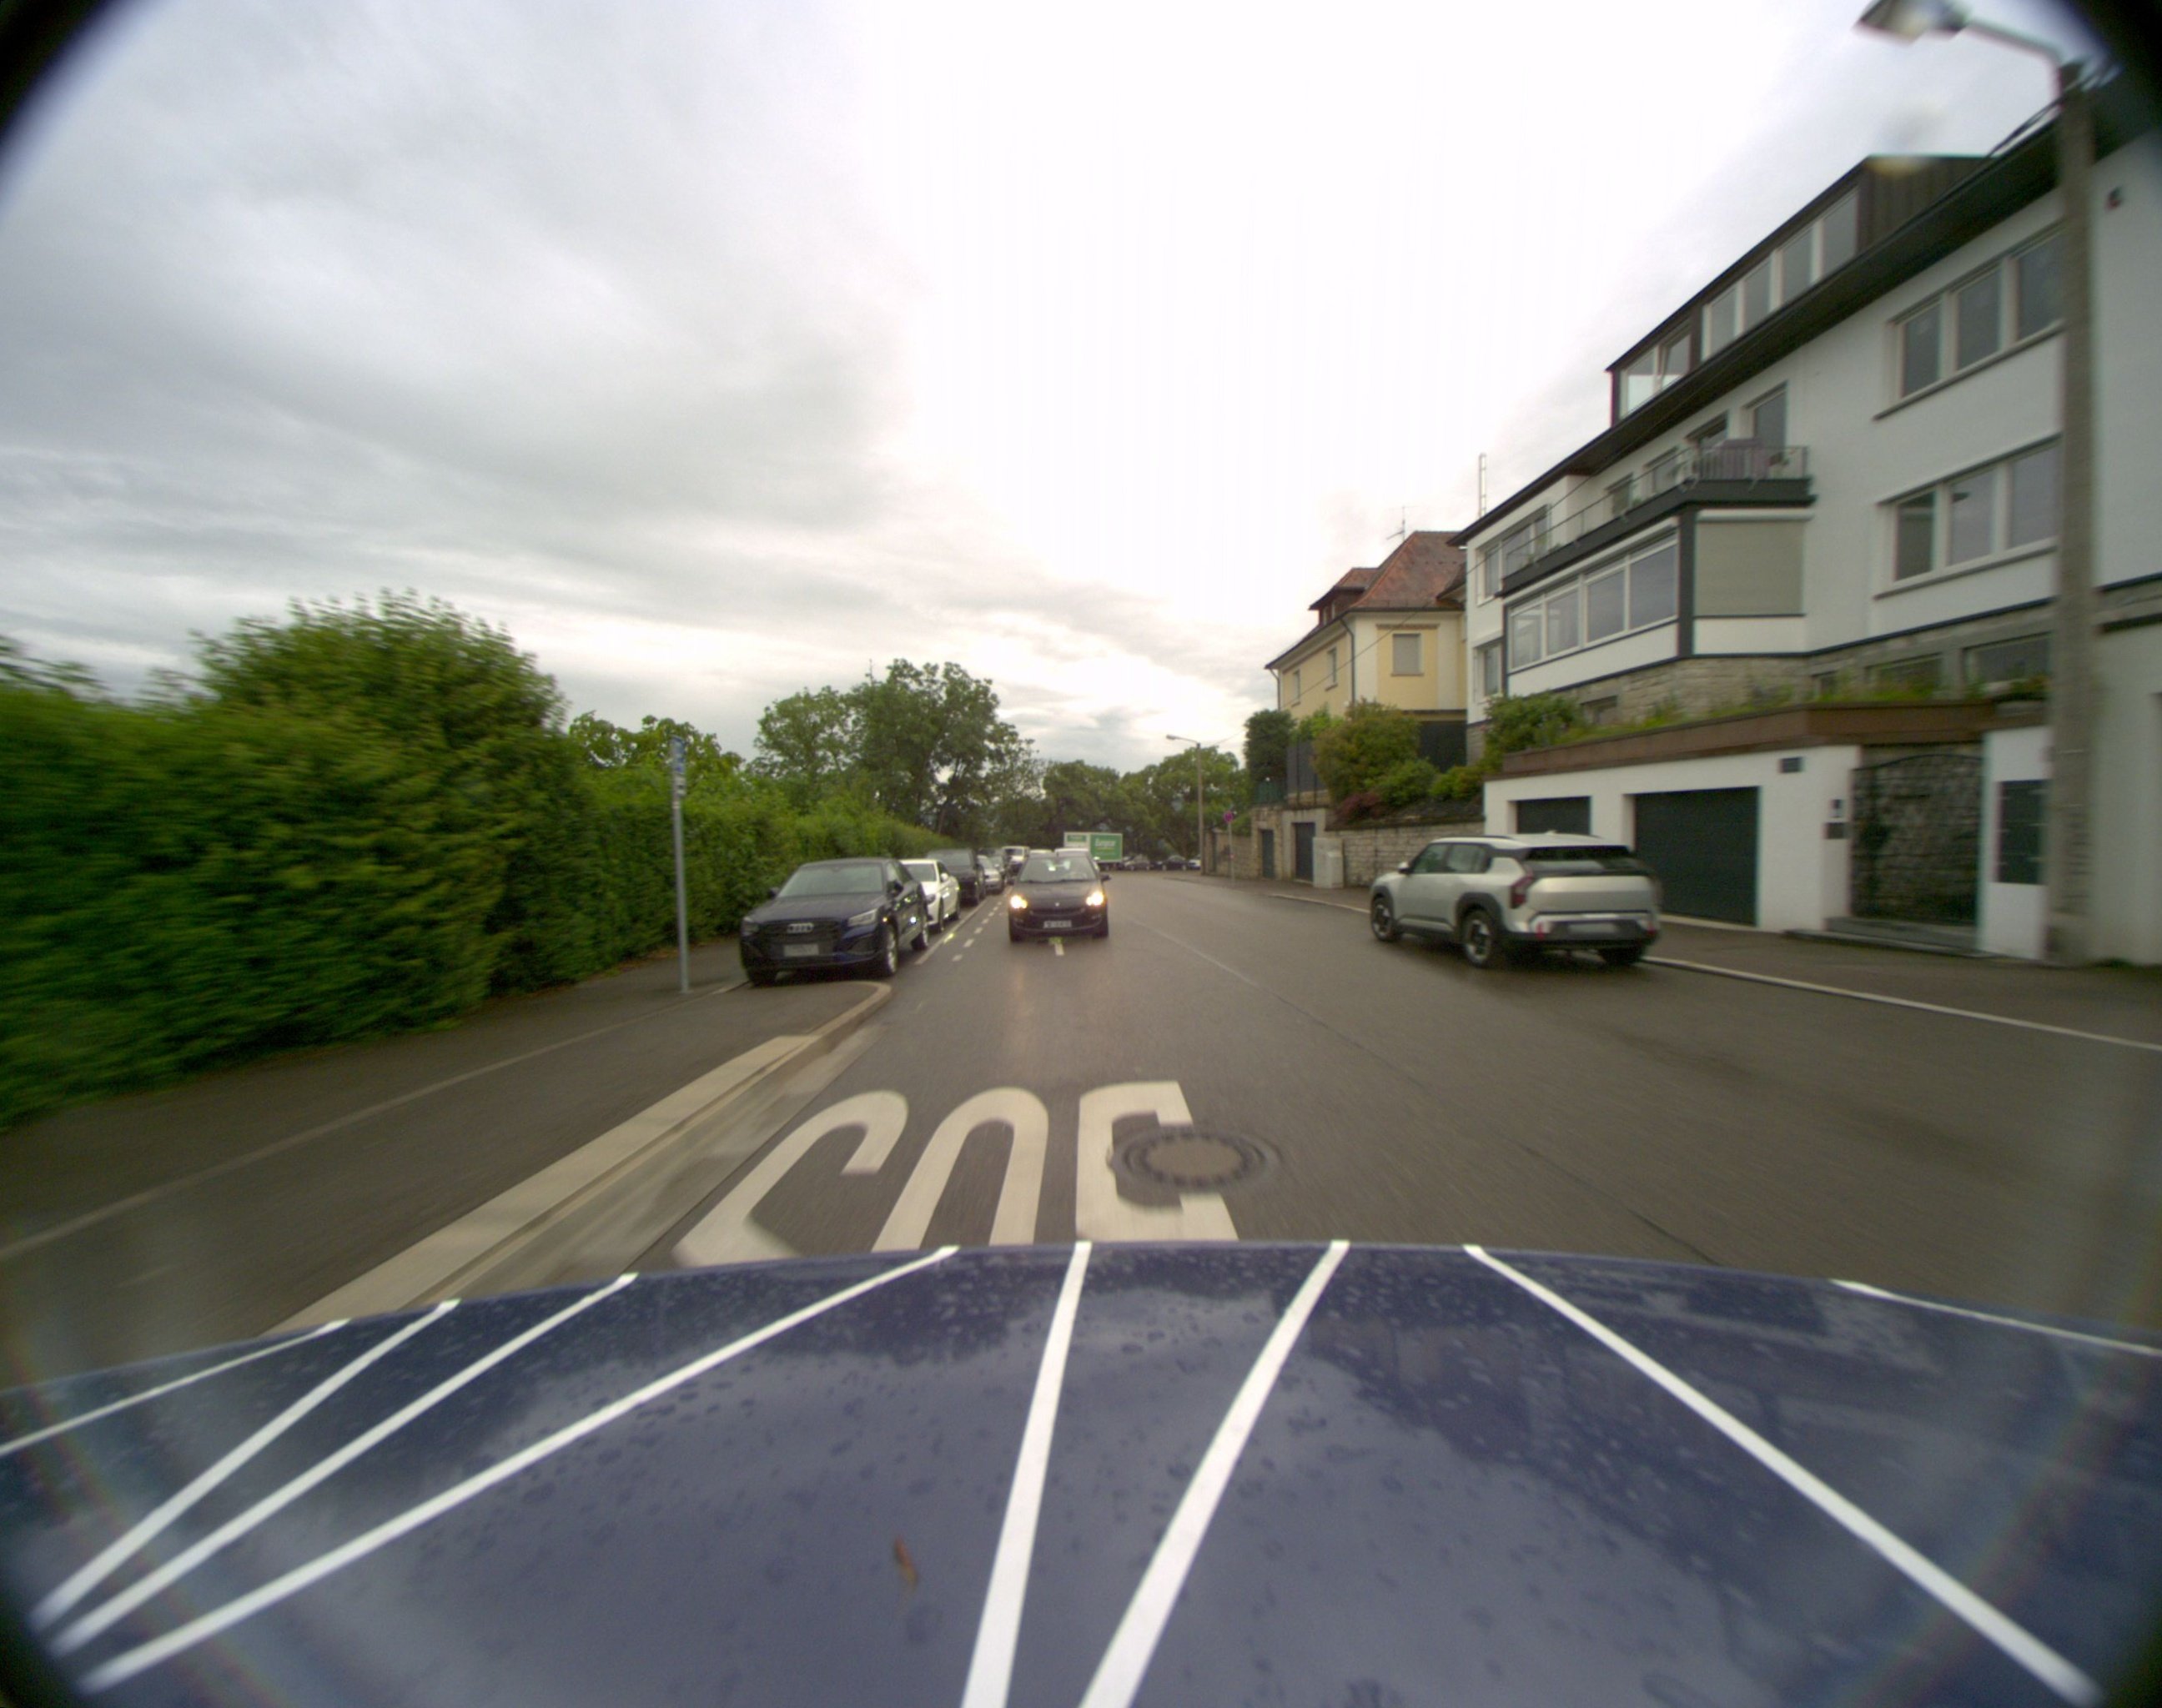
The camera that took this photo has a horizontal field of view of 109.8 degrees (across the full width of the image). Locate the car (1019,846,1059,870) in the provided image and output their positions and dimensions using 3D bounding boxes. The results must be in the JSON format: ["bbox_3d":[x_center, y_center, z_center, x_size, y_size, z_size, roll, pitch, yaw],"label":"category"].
[{"bbox_3d":[-3.151,0.274,58.361,1.862,1.760,4.383,-1,0,14],"label":"car"}]

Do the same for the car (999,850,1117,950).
[{"bbox_3d":[-0.479,0.710,14.094,1.784,1.477,4.404,-3,0,-3],"label":"car"}]

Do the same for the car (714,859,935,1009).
[{"bbox_3d":[-3.276,0.909,10.636,1.759,1.521,4.204,-3,1,-3],"label":"car"}]

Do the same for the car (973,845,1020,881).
[{"bbox_3d":[-4.448,0.465,40.590,2.032,1.772,4.898,-2,0,-2],"label":"car"}]

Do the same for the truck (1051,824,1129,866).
[{"bbox_3d":[0.947,-0.748,67.429,2.774,3.451,8.951,2,1,30],"label":"truck"}]

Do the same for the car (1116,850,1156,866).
[{"bbox_3d":[5.400,0.372,74.124,1.734,1.495,4.144,2,1,41],"label":"car"}]

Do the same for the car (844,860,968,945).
[{"bbox_3d":[-3.533,0.904,16.173,1.718,1.397,4.606,-3,0,-3],"label":"car"}]

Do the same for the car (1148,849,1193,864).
[{"bbox_3d":[9.229,0.283,78.218,4.905,1.533,1.860,1,1,-42],"label":"car"}]

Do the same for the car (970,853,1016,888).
[{"bbox_3d":[-4.002,0.702,35.144,1.693,1.414,3.982,-2,1,-1],"label":"car"}]

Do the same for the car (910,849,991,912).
[{"bbox_3d":[-3.892,0.718,23.437,1.892,1.653,4.546,-3,1,-3],"label":"car"}]

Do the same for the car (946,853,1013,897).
[{"bbox_3d":[-3.926,0.744,28.727,1.806,1.432,4.636,-2,0,-16],"label":"car"}]

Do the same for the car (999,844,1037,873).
[{"bbox_3d":[-4.293,0.302,52.540,1.864,1.937,4.809,0,0,5],"label":"car"}]

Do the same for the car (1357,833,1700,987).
[{"bbox_3d":[5.432,0.564,10.021,1.903,1.558,4.236,-1,1,-2],"label":"car"}]

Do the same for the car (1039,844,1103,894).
[{"bbox_3d":[-0.325,0.515,29.498,2.191,1.698,4.882,-2,0,1],"label":"car"}]

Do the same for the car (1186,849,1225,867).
[{"bbox_3d":[13.475,0.445,82.053,4.433,1.811,1.747,1,1,-41],"label":"car"}]
